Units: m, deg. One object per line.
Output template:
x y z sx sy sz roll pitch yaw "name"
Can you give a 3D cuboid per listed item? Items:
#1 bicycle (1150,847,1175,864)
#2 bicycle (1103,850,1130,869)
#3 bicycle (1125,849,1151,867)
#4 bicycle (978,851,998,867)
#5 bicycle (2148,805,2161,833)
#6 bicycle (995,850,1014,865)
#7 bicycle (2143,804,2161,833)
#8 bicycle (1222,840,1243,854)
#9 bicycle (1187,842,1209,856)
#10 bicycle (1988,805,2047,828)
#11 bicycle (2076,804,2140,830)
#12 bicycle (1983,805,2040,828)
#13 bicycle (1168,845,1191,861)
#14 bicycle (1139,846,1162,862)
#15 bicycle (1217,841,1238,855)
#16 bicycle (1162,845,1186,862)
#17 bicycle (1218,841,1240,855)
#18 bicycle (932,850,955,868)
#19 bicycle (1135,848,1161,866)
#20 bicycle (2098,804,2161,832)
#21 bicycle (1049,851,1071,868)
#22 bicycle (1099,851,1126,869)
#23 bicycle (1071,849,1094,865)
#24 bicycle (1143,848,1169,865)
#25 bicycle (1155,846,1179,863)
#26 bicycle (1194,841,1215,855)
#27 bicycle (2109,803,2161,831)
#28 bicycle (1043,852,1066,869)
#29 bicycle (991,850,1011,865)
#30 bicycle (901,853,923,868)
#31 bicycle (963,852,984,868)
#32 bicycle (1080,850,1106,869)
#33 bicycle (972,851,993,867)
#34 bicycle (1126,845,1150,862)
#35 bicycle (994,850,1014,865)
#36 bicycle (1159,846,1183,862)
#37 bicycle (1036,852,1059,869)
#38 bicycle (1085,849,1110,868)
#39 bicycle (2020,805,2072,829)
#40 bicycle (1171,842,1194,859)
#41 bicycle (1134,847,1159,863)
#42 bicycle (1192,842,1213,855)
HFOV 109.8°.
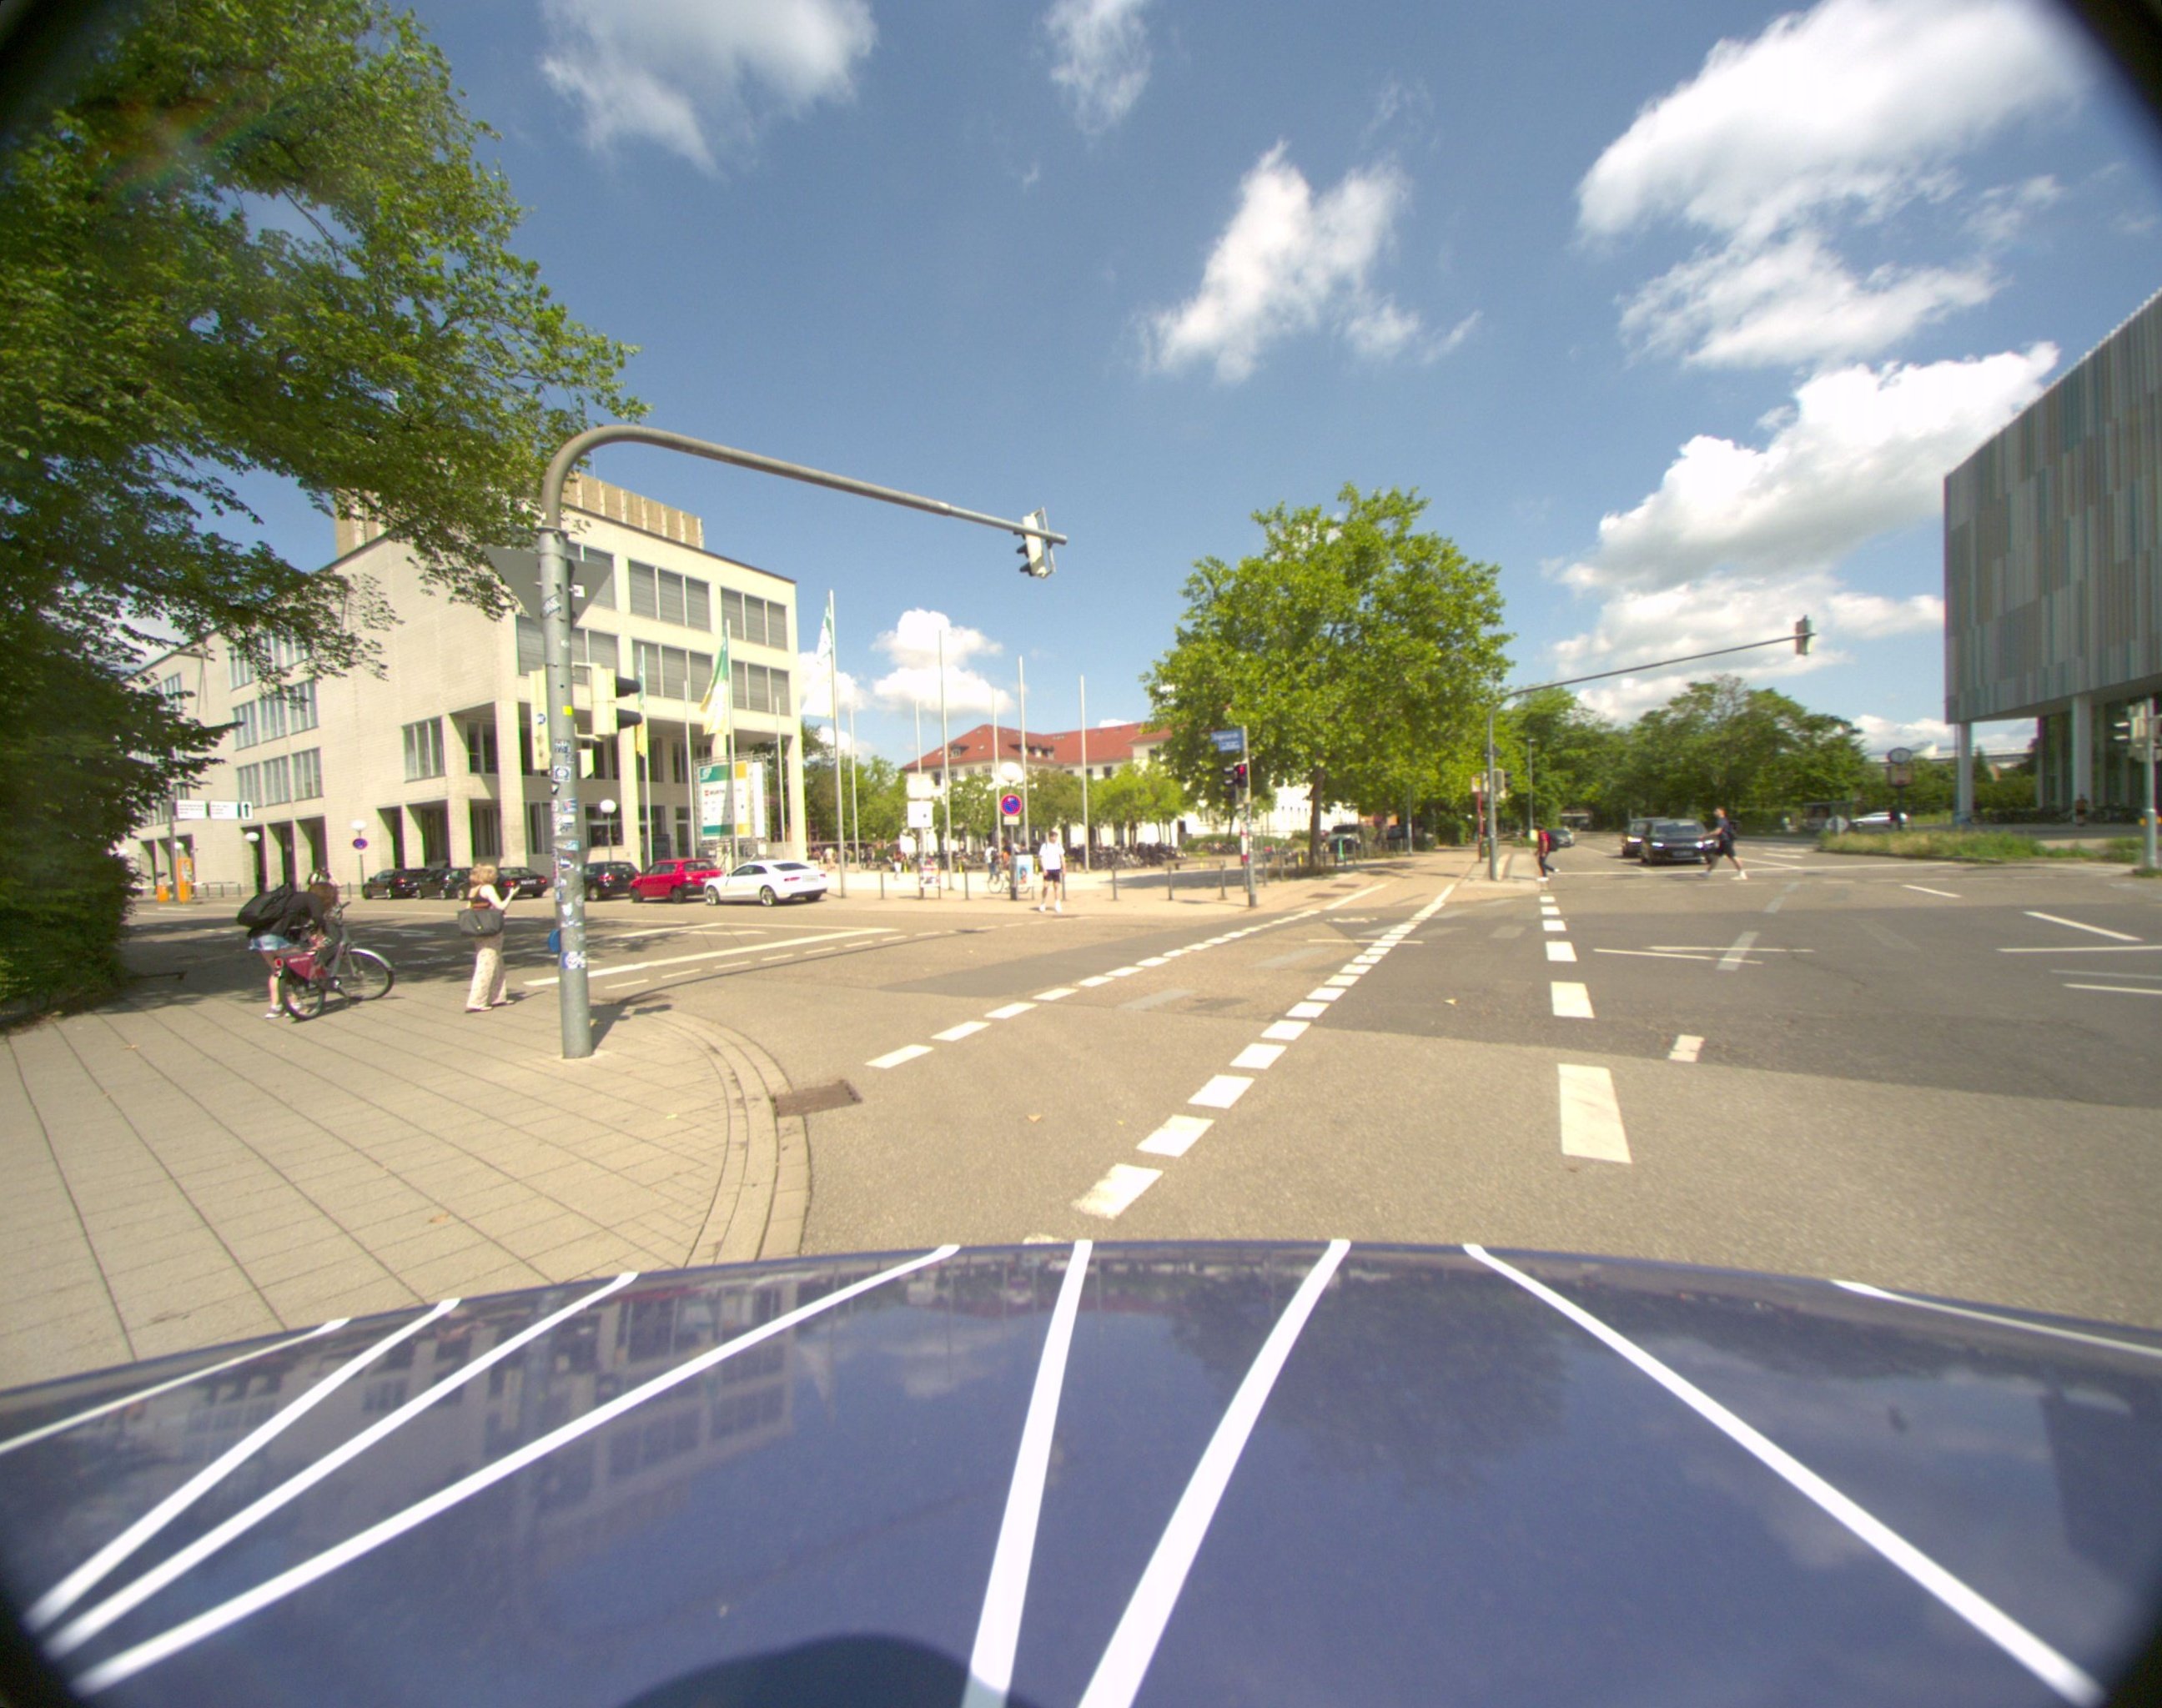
4.778 0.095 44.357 1.368 0.946 0.352 -2 2 28 "bicycle"
1.879 0.294 40.599 1.368 0.941 0.353 -2 2 28 "bicycle"
3.100 0.211 41.661 1.368 0.946 0.353 -2 2 28 "bicycle"
-5.782 0.304 47.164 1.368 0.946 0.353 -1 2 37 "bicycle"
57.805 -1.877 39.635 2.446 1.486 0.622 -1 2 34 "bicycle"
-5.077 0.224 50.383 1.368 0.946 0.353 -1 2 37 "bicycle"
58.589 -1.933 40.325 2.506 1.486 0.731 -1 2 43 "bicycle"
10.825 -0.483 54.421 1.425 0.946 0.353 -2 2 28 "bicycle"
8.346 -0.368 54.230 1.425 0.946 0.353 -2 2 28 "bicycle"
65.630 -2.601 53.266 2.506 1.486 0.622 -1 2 34 "bicycle"
61.351 -2.195 45.425 2.196 1.486 0.622 -1 2 34 "bicycle"
66.309 -2.656 54.153 2.506 1.486 0.622 -1 2 34 "bicycle"
6.003 -0.046 46.310 1.368 0.946 0.353 -2 2 28 "bicycle"
4.287 0.015 46.915 1.409 0.946 0.353 -2 2 28 "bicycle"
10.298 -0.433 53.462 1.425 0.946 0.353 -2 2 28 "bicycle"
5.629 -0.020 45.949 1.368 0.946 0.353 -2 2 28 "bicycle"
10.512 -0.456 53.931 1.425 0.946 0.353 -2 2 28 "bicycle"
-8.553 0.328 47.306 1.369 1.068 0.352 -2 2 22 "bicycle"
3.685 0.176 42.013 1.368 0.946 0.353 -2 2 28 "bicycle"
59.550 -2.046 42.901 2.506 1.486 0.622 -1 2 34 "bicycle"
-1.221 0.305 44.142 1.368 0.946 0.353 -1 2 37 "bicycle"
1.661 0.323 40.063 1.368 0.946 0.353 -2 2 28 "bicycle"
0.068 0.193 47.395 1.368 0.946 0.352 -2 2 25 "bicycle"
4.197 0.139 42.525 1.368 0.946 0.353 -2 2 28 "bicycle"
5.073 0.048 44.939 1.368 0.946 0.353 -2 2 28 "bicycle"
8.937 -0.419 55.134 1.425 0.946 0.353 -2 2 28 "bicycle"
60.657 -2.105 43.254 2.506 1.486 0.622 -1 2 34 "bicycle"
-1.548 0.361 43.687 1.368 0.946 0.353 -1 2 37 "bicycle"
-5.203 0.241 49.212 1.368 0.946 0.353 -1 2 37 "bicycle"
-11.039 0.404 49.583 1.369 0.946 0.352 -2 1 22 "bicycle"
-6.517 0.359 46.226 1.368 0.946 0.353 -1 2 37 "bicycle"
0.657 0.288 41.967 1.368 0.995 0.353 -2 2 28 "bicycle"
-6.062 0.321 46.733 1.368 0.946 0.353 -1 2 37 "bicycle"
3.400 -0.039 45.424 1.409 0.946 0.353 -2 2 28 "bicycle"
-5.037 0.212 49.810 1.368 0.946 0.353 -1 2 37 "bicycle"
5.409 0.003 45.506 1.368 0.946 0.353 -2 2 28 "bicycle"
-1.937 0.388 43.420 1.368 0.946 0.353 -1 2 37 "bicycle"
0.906 0.257 42.409 1.368 0.995 0.353 -2 2 28 "bicycle"
64.591 -2.490 50.882 2.067 1.486 0.622 -1 2 34 "bicycle"
6.261 -0.209 46.890 1.368 0.946 0.352 -2 2 28 "bicycle"
4.001 0.041 46.427 1.409 0.946 0.353 -2 2 28 "bicycle"
8.759 -0.400 54.758 1.425 0.946 0.353 -2 2 28 "bicycle"
